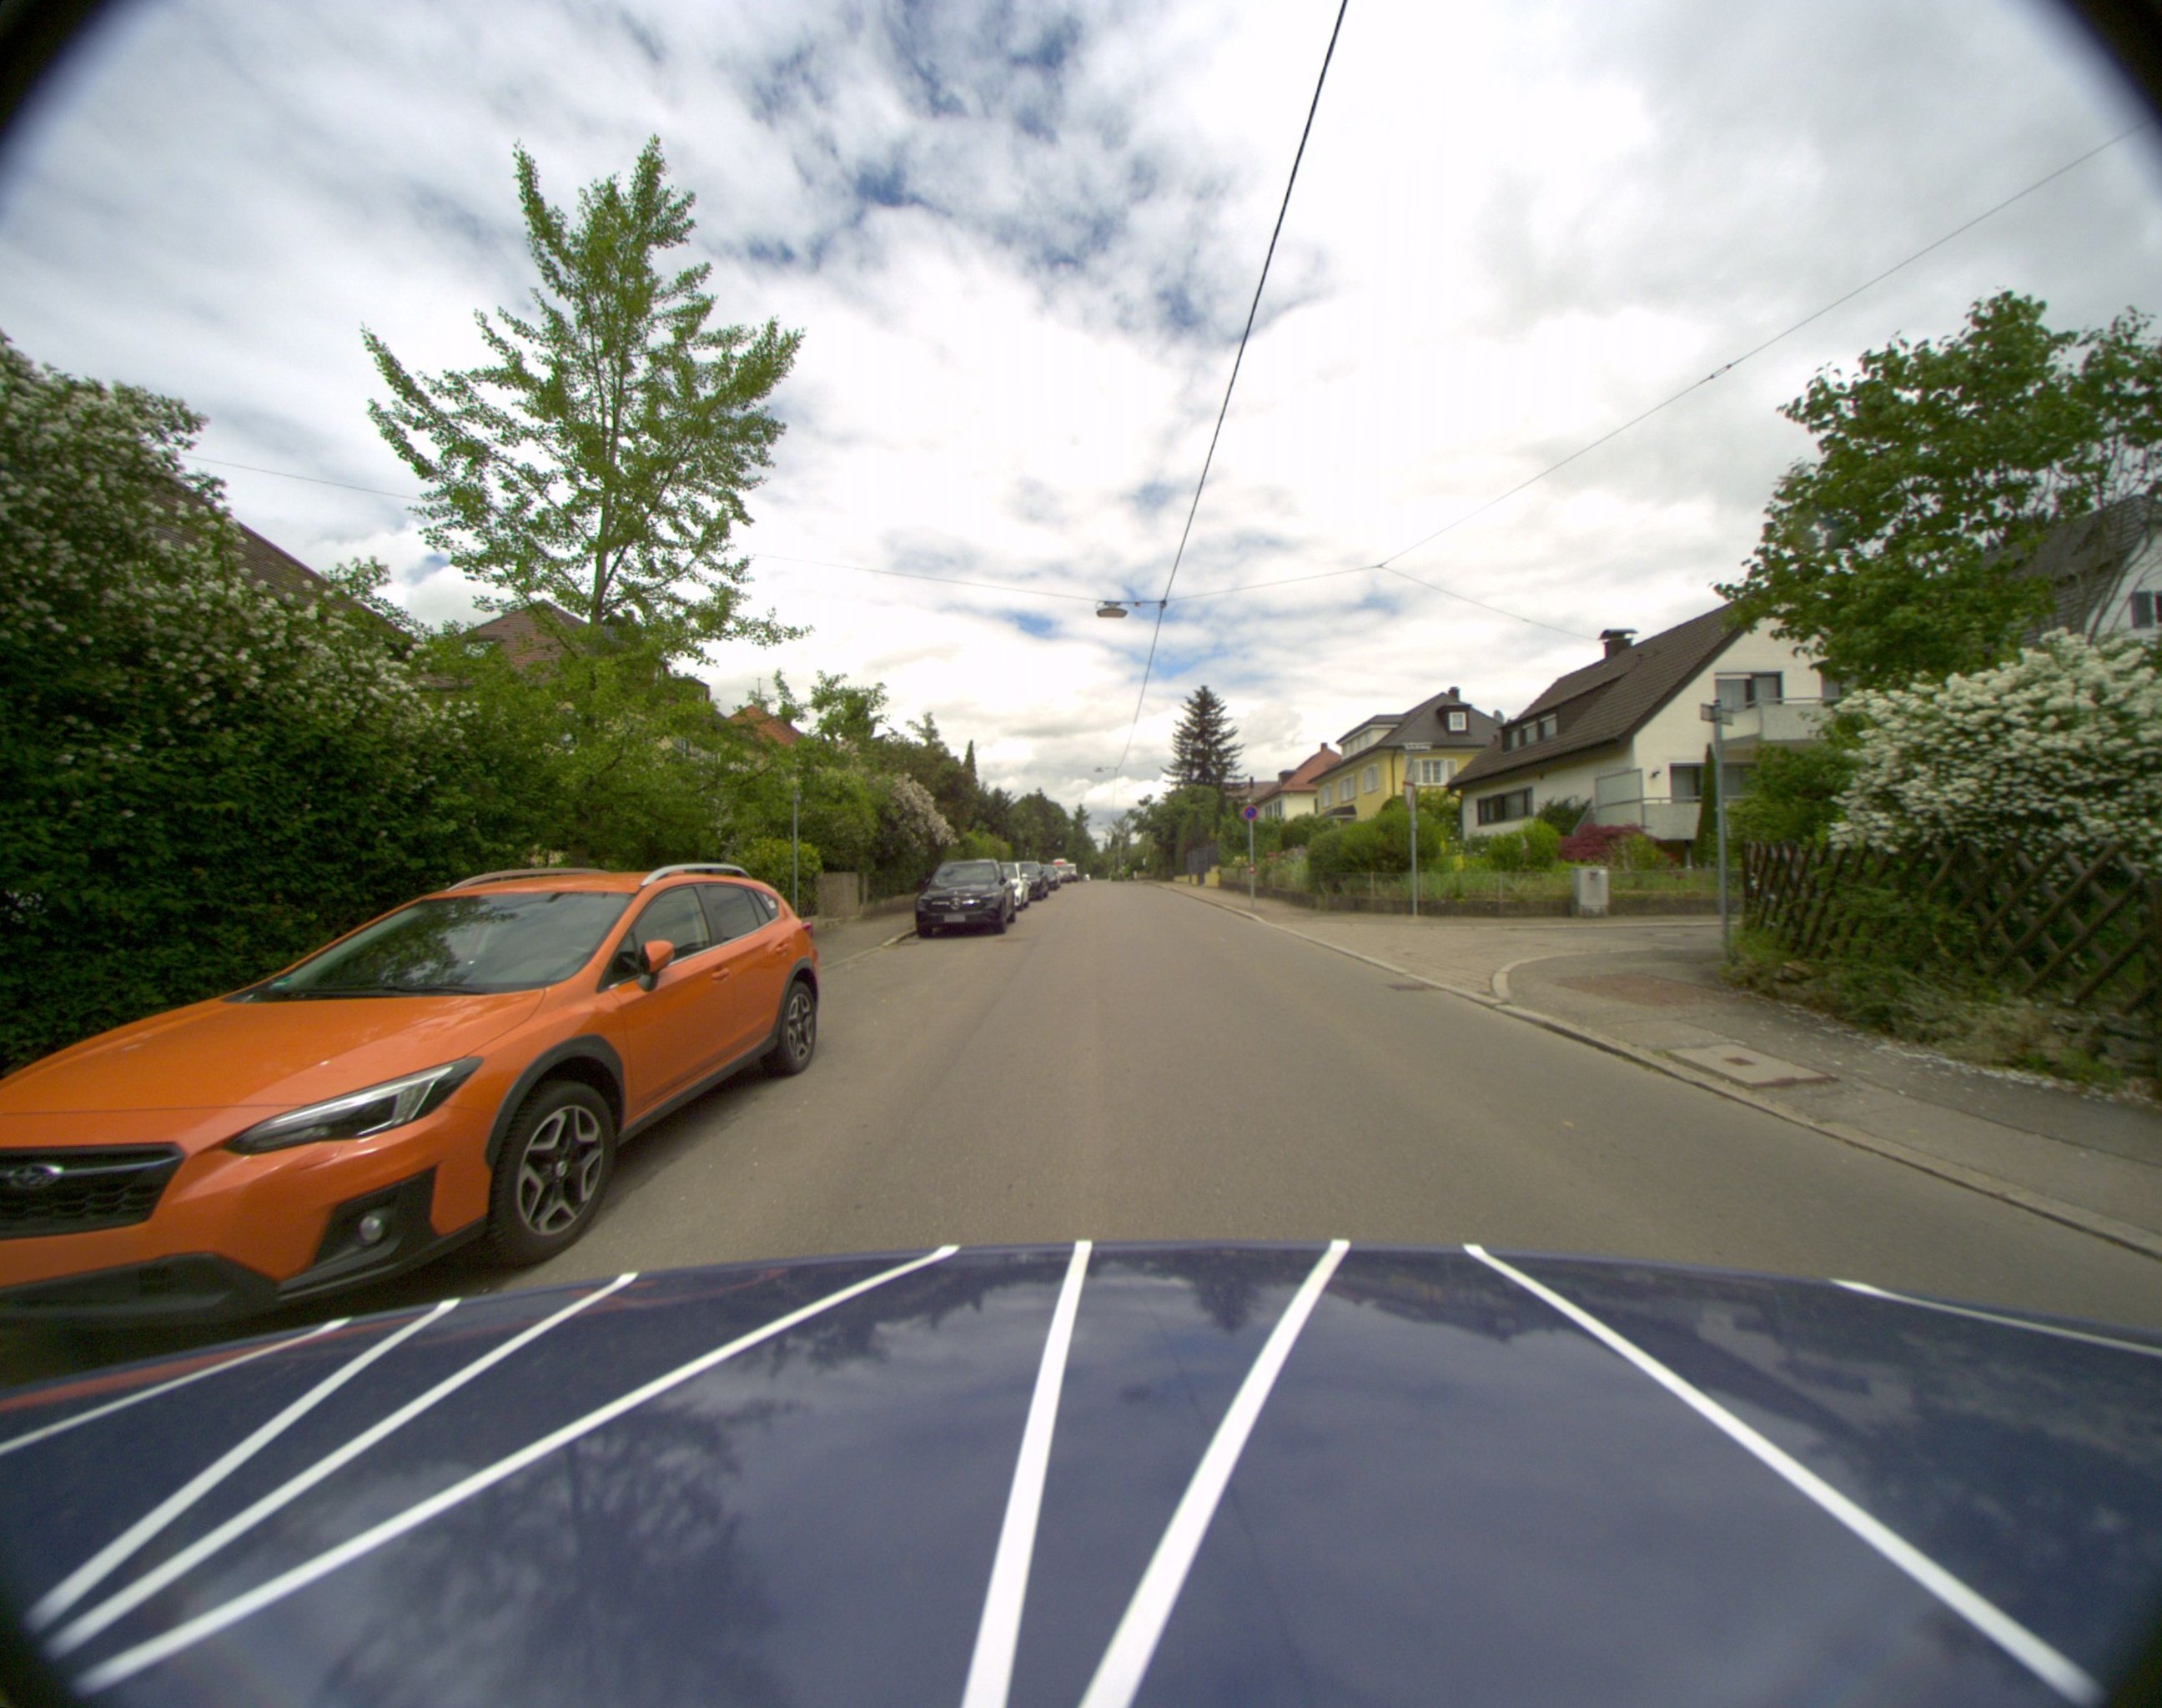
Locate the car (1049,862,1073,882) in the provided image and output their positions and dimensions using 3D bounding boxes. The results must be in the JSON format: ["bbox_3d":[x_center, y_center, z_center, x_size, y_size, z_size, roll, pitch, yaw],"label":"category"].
[{"bbox_3d":[-1.755,1.648,66.982,1.878,1.621,4.127,-2,-3,1],"label":"car"}]

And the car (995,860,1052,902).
[{"bbox_3d":[-2.311,1.064,31.552,1.805,1.582,4.142,-1,0,3],"label":"car"}]

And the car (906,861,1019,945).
[{"bbox_3d":[-2.622,1.024,17.825,1.955,1.617,4.376,-2,0,-1],"label":"car"}]

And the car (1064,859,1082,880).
[{"bbox_3d":[-0.875,1.761,86.799,1.854,2.210,5.368,-3,-1,0],"label":"car"}]

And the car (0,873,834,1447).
[{"bbox_3d":[-3.088,1.012,4.425,1.855,1.617,4.169,-2,0,0],"label":"car"}]

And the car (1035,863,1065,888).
[{"bbox_3d":[-1.950,1.337,48.386,1.761,1.468,4.358,-1,-1,-1],"label":"car"}]

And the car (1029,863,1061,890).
[{"bbox_3d":[-2.030,1.269,43.507,1.721,1.451,4.141,-1,-1,-2],"label":"car"}]

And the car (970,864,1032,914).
[{"bbox_3d":[-2.542,1.082,24.761,1.602,1.501,3.014,-1,-1,2],"label":"car"}]
